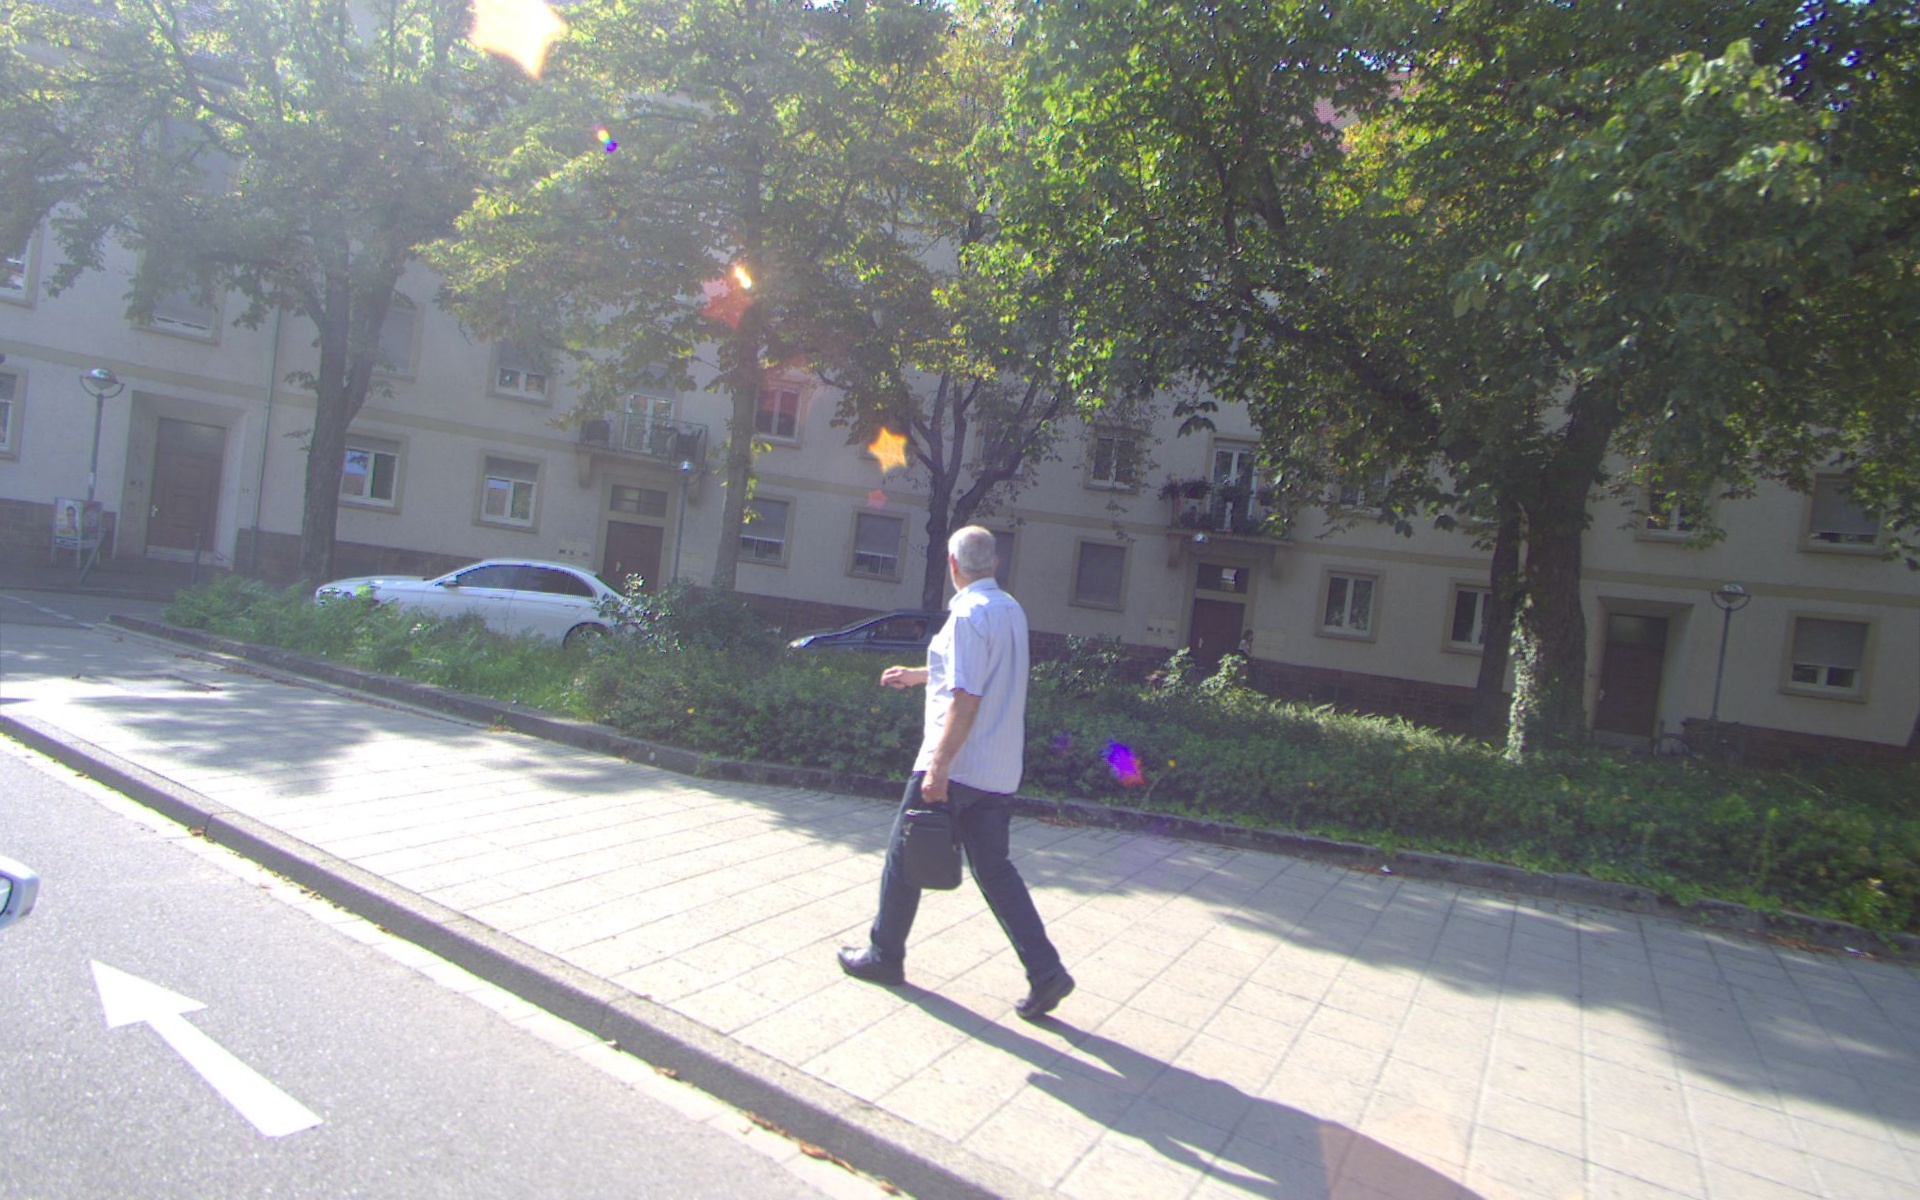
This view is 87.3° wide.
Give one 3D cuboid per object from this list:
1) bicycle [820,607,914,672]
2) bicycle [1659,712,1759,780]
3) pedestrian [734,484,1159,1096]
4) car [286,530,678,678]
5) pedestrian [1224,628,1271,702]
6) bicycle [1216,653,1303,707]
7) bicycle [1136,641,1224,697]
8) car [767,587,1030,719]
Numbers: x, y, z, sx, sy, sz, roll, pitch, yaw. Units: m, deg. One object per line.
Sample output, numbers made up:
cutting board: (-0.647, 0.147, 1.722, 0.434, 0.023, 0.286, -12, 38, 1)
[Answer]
bicycle: (-1.951, 0.824, 21.277, 1.806, 1.071, 0.608, 9, 0, 0)
bicycle: (14.787, 2.871, 19.895, 1.465, 1.073, 0.416, 7, 1, 36)
pedestrian: (-0.013, 0.545, 3.608, 0.953, 1.748, 1.077, 7, 4, 31)
car: (-6.805, 0.052, 14.939, 4.881, 1.488, 1.867, 7, 2, -18)
pedestrian: (7.047, 1.593, 24.710, 0.850, 1.692, 0.688, 7, 1, 10)
bicycle: (7.243, 1.933, 24.366, 1.873, 1.019, 0.534, 7, 1, 11)
bicycle: (5.083, 1.593, 23.302, 1.873, 1.019, 0.534, 7, 1, 11)
car: (-0.961, 0.800, 16.088, 3.820, 1.470, 1.750, 8, 1, -3)
